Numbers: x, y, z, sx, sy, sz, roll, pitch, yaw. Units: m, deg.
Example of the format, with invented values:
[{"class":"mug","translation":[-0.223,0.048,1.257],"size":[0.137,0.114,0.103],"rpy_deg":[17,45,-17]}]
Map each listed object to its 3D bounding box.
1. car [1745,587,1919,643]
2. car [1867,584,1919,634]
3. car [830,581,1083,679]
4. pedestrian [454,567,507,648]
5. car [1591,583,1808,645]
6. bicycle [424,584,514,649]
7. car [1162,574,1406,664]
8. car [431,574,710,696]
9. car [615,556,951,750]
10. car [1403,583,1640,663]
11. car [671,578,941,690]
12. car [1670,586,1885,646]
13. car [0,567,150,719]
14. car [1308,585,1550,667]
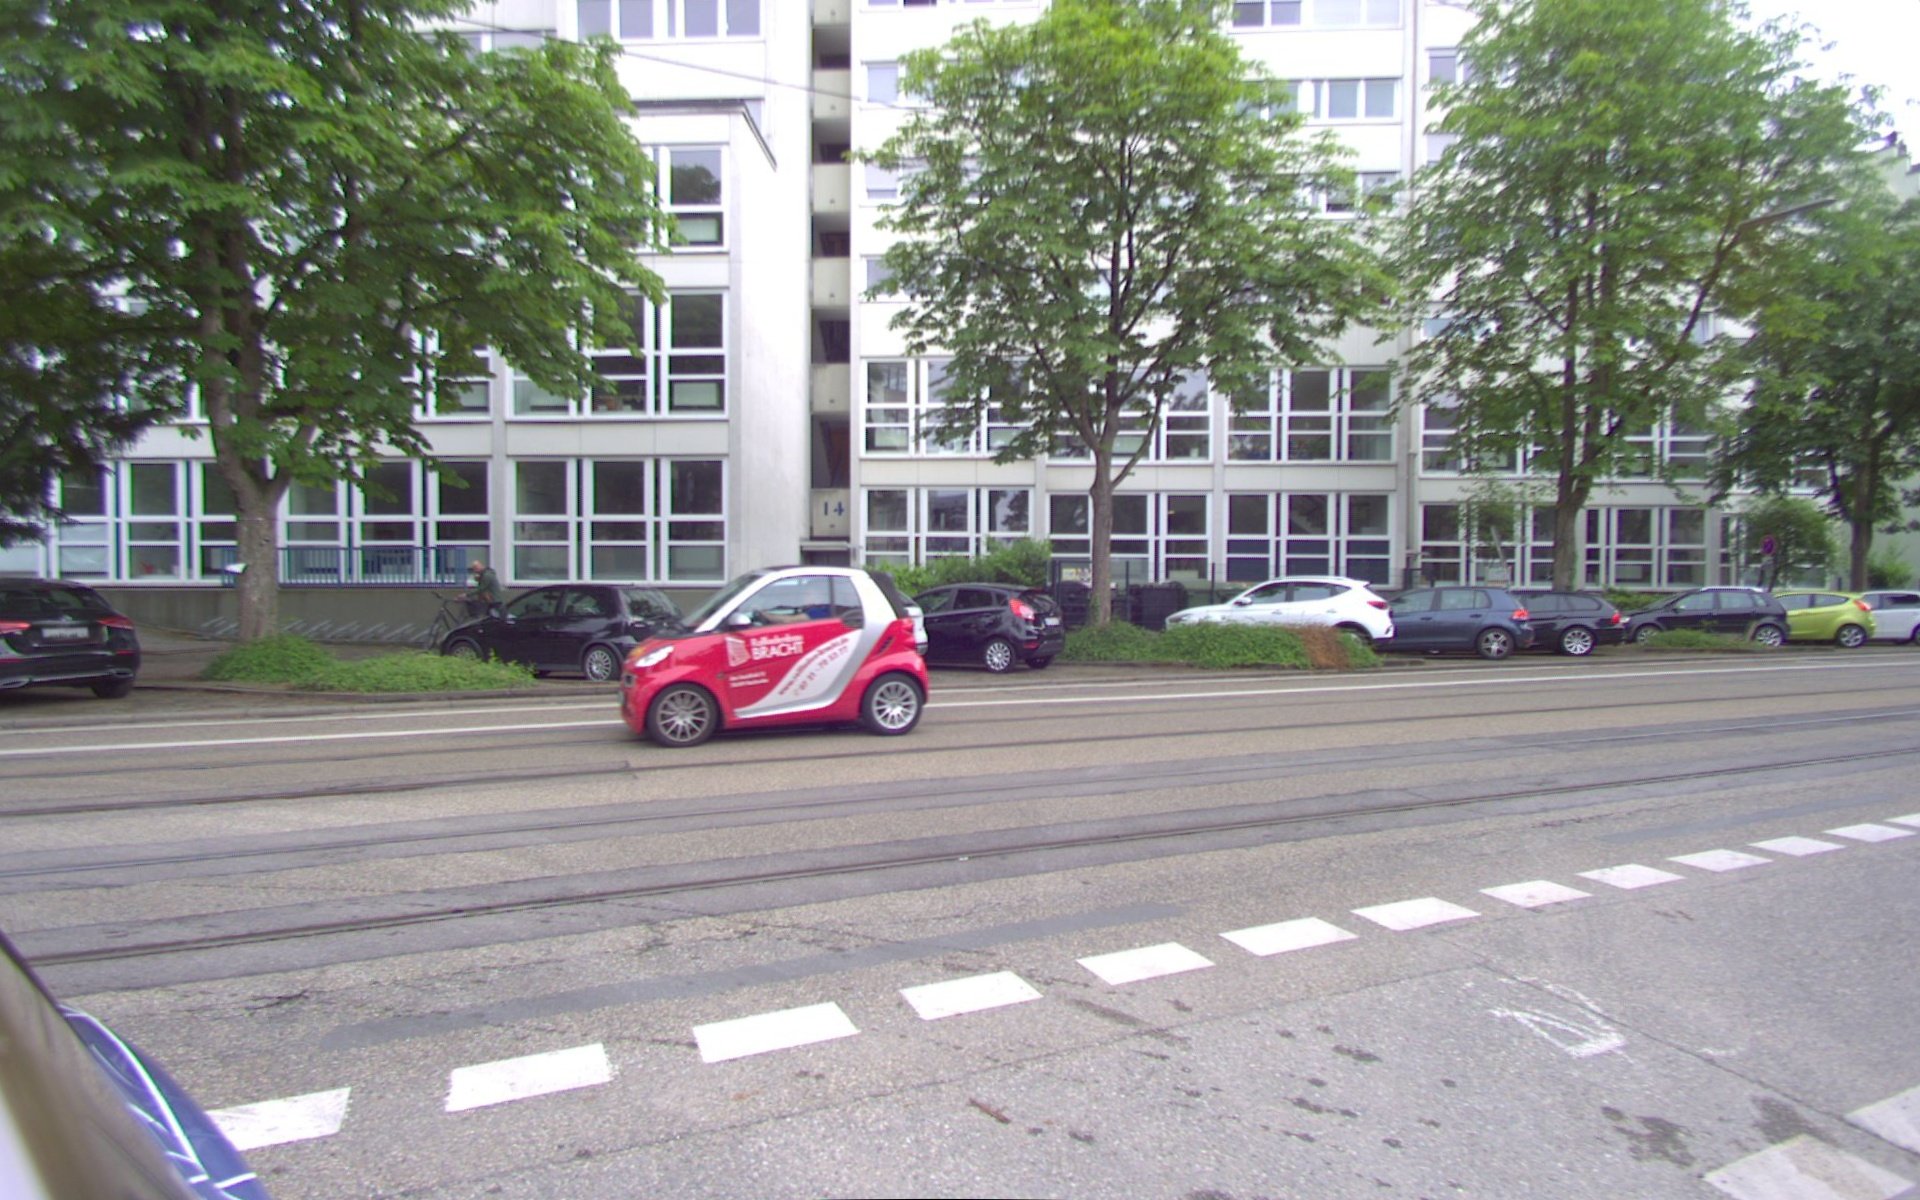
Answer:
[{"class":"car","translation":[23.767,0.382,27.124],"size":[3.941,1.362,1.688],"rpy_deg":[1,2,22]},{"class":"car","translation":[28.626,0.271,28.680],"size":[3.941,1.362,1.688],"rpy_deg":[1,2,22]},{"class":"car","translation":[-0.090,0.422,17.188],"size":[4.012,1.416,1.683],"rpy_deg":[2,2,30]},{"class":"pedestrian","translation":[-9.891,0.145,20.906],"size":[0.744,1.623,0.735],"rpy_deg":[2,2,-2]},{"class":"car","translation":[17.974,0.296,24.825],"size":[3.941,1.362,1.688],"rpy_deg":[1,2,22]},{"class":"bicycle","translation":[-9.846,0.328,20.329],"size":[1.569,1.278,0.407],"rpy_deg":[0,0,-13]},{"class":"car","translation":[6.237,0.308,19.747],"size":[4.311,1.567,1.690],"rpy_deg":[1,2,19]},{"class":"car","translation":[-5.659,0.421,14.729],"size":[3.682,1.535,1.687],"rpy_deg":[1,2,23]},{"class":"car","translation":[-1.669,0.437,9.318],"size":[2.733,1.534,1.687],"rpy_deg":[1,-1,-23]},{"class":"car","translation":[12.154,0.445,22.256],"size":[4.317,1.547,1.688],"rpy_deg":[1,2,22]},{"class":"car","translation":[-2.445,0.438,15.825],"size":[4.012,1.495,1.683],"rpy_deg":[2,2,30]},{"class":"car","translation":[20.943,0.377,26.131],"size":[3.941,1.362,1.688],"rpy_deg":[1,2,22]},{"class":"car","translation":[-11.328,0.393,11.584],"size":[3.682,1.535,1.687],"rpy_deg":[1,2,23]},{"class":"car","translation":[9.469,0.473,20.771],"size":[4.317,1.464,1.688],"rpy_deg":[1,2,22]}]
